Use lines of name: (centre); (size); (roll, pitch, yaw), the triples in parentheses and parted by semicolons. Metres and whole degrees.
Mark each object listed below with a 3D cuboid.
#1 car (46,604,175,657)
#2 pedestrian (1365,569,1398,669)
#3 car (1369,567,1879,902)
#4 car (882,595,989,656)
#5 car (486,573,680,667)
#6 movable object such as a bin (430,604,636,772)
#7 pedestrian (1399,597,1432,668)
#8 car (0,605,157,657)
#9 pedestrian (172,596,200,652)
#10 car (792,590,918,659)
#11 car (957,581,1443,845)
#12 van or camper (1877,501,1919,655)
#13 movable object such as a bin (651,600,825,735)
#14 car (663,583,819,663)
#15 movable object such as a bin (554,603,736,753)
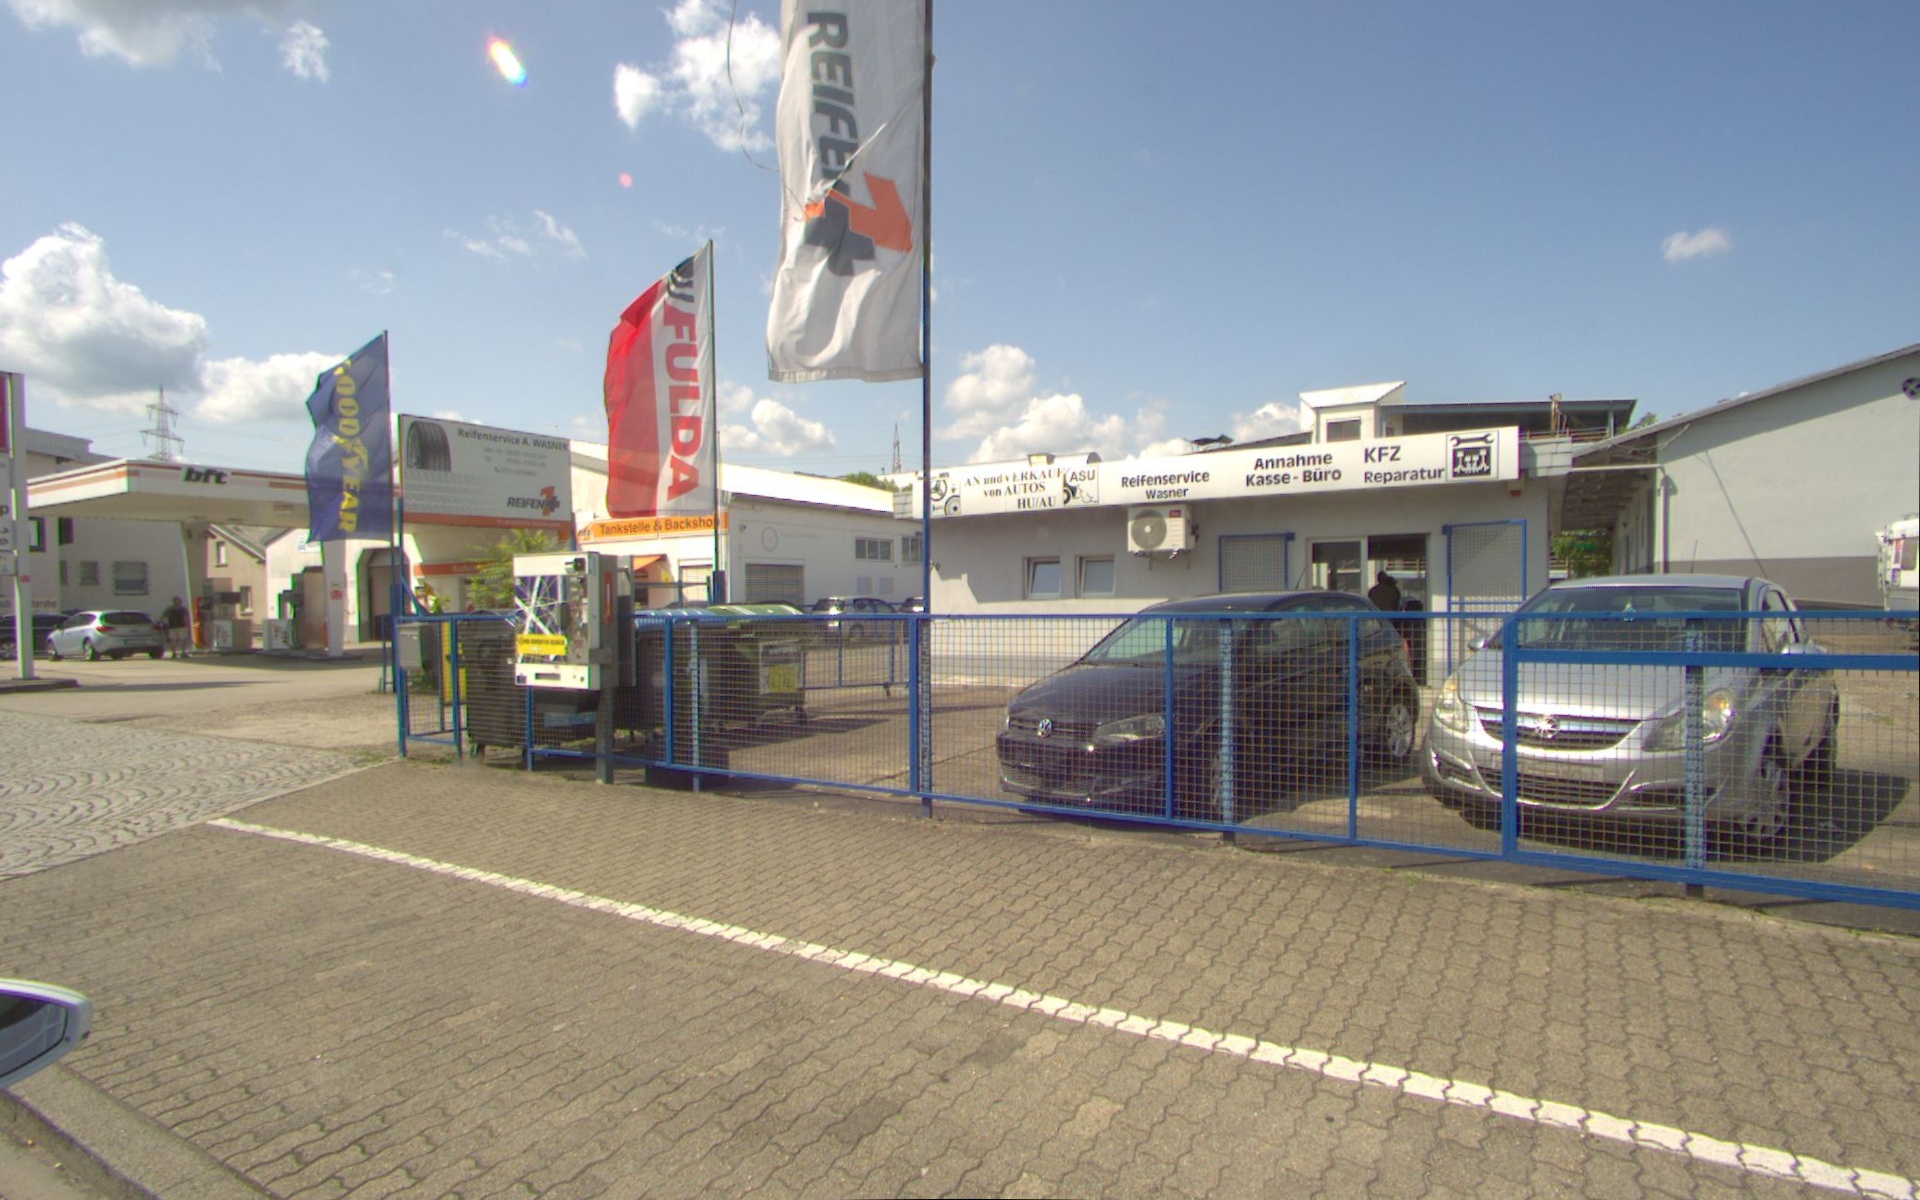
car: (-25.841, 0.889, 30.437); (3.950, 1.499, 1.829); (-1, 1, 31)
pedestrian: (7.382, 0.324, 17.539); (0.480, 1.710, 0.499); (0, 1, 30)
car: (4.494, 0.588, 6.514); (4.104, 1.499, 1.787); (-1, 0, -42)
car: (-0.812, 0.862, 35.880); (1.971, 2.040, 3.979); (0, 0, 32)
car: (-8.921, 0.435, 23.985); (1.971, 2.040, 3.979); (0, 0, 32)
movable object such as a bin: (-4.140, 0.784, 9.748); (1.434, 1.473, 1.224); (0, 1, 31)
pedestrian: (7.971, 0.562, 17.528); (0.480, 1.229, 0.499); (0, 1, 30)
car: (-30.454, 1.024, 34.478); (1.663, 1.646, 4.092); (0, 0, 35)
pedestrian: (-23.747, 0.729, 30.718); (0.628, 1.705, 0.618); (-1, 1, -36)
car: (-3.272, 0.727, 31.990); (1.971, 2.040, 3.979); (0, 0, 32)
car: (2.007, 0.627, 7.651); (3.962, 1.499, 1.705); (-1, 1, -43)
van or camper: (21.339, -0.458, 19.323); (4.983, 3.002, 2.276); (0, 1, 31)
movable object such as a bin: (-2.614, 0.743, 11.902); (1.433, 1.473, 1.427); (0, 1, 31)
car: (-5.955, 0.571, 27.639); (1.971, 2.040, 3.979); (0, 0, 32)
movable object such as a bin: (-3.379, 0.775, 10.788); (1.434, 1.473, 1.224); (0, 1, 31)
